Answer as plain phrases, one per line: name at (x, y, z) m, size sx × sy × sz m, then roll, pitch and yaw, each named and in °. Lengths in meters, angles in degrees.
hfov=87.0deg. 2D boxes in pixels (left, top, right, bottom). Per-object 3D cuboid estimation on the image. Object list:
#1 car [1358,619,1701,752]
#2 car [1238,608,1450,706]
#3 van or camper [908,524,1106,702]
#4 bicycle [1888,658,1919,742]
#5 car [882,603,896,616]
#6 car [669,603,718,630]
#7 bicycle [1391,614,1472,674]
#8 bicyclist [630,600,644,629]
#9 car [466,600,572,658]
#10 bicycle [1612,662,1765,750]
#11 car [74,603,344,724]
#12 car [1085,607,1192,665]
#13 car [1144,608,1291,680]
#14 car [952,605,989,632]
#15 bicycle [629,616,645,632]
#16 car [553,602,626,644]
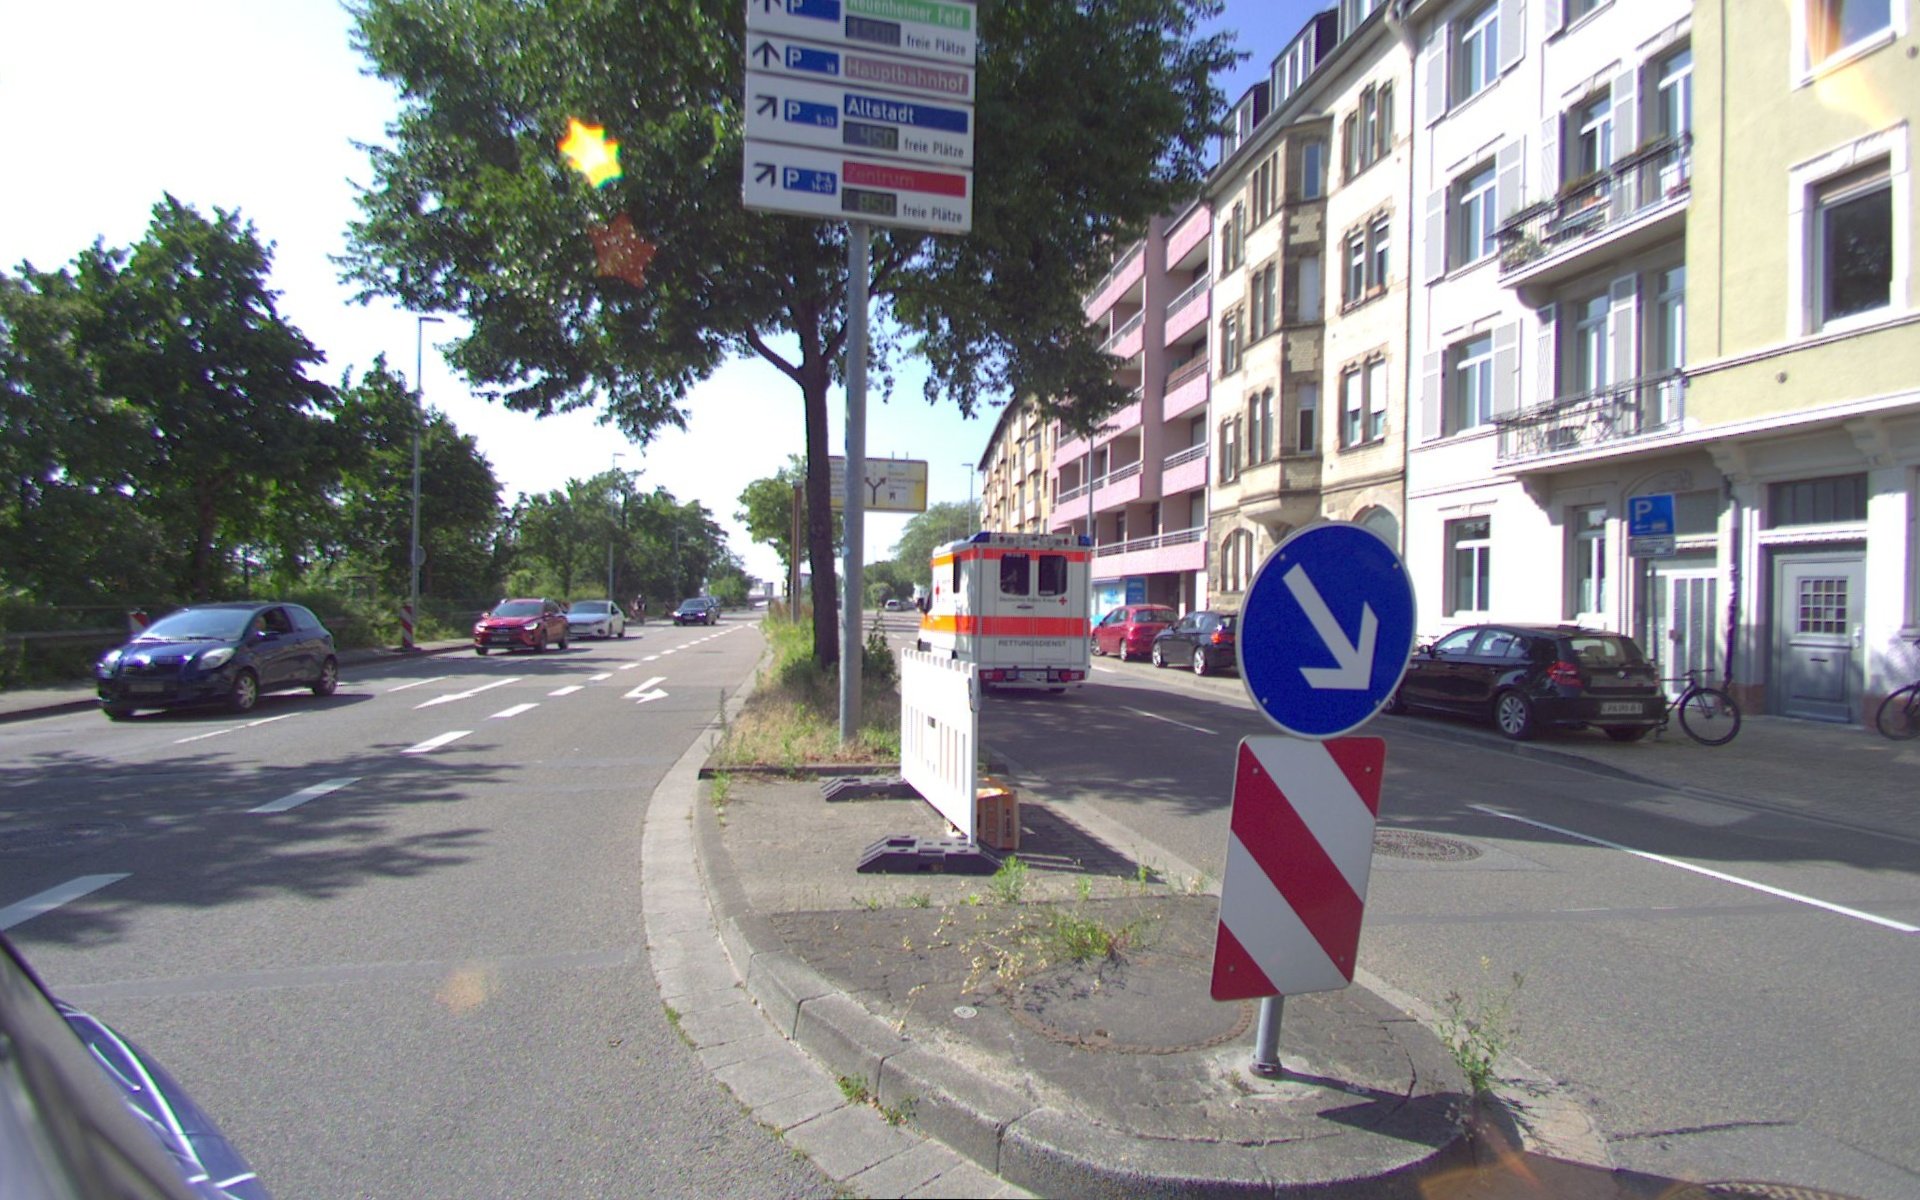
car at (7.289, 0.998, 13.513) m, size 1.717 × 1.427 × 4.090 m, roll 0°, pitch 0°, yaw -11°
car at (6.615, 0.915, 17.949) m, size 1.620 × 1.512 × 4.019 m, roll 0°, pitch 0°, yaw -11°
van or camper at (0.640, 0.246, 19.002) m, size 2.266 × 2.810 × 5.585 m, roll 2°, pitch -1°, yaw -12°
bicycle at (11.692, 1.184, 11.206) m, size 0.599 × 0.952 × 2.119 m, roll -1°, pitch 0°, yaw -12°
car at (-9.248, 1.221, 131.898) m, size 1.601 × 1.517 × 3.462 m, roll 2°, pitch 0°, yaw -2°
car at (-14.481, 0.865, 55.174) m, size 1.969 × 1.422 × 4.622 m, roll 0°, pitch 0°, yaw -6°
bicycle at (9.784, 0.894, 21.061) m, size 0.646 × 1.155 × 1.630 m, roll -1°, pitch 0°, yaw -12°
bicyclist at (-17.221, 0.784, 54.009) m, size 0.566 × 1.545 × 0.780 m, roll 1°, pitch -1°, yaw -7°
car at (-12.406, 0.786, 28.713) m, size 1.774 × 1.531 × 3.971 m, roll 0°, pitch 0°, yaw -8°
bicycle at (8.880, 1.264, 12.407) m, size 0.442 × 0.898 × 1.585 m, roll -3°, pitch 0°, yaw -14°
car at (-10.676, 0.819, 14.725) m, size 1.620 × 1.512 × 3.656 m, roll -1°, pitch 0°, yaw -8°
car at (4.865, 0.941, 28.161) m, size 1.762 × 1.493 × 4.007 m, roll 0°, pitch 0°, yaw -8°
car at (5.745, 0.938, 23.127) m, size 1.620 × 1.464 × 4.136 m, roll 1°, pitch -1°, yaw -11°
car at (0.606, 1.098, 60.887) m, size 1.735 × 1.517 × 4.133 m, roll 2°, pitch -1°, yaw -6°
bicycle at (-17.218, 1.258, 53.937) m, size 0.487 × 0.839 × 1.809 m, roll 1°, pitch 0°, yaw -8°
car at (-13.790, 0.836, 37.875) m, size 1.840 × 1.464 × 4.213 m, roll 0°, pitch 0°, yaw -10°
